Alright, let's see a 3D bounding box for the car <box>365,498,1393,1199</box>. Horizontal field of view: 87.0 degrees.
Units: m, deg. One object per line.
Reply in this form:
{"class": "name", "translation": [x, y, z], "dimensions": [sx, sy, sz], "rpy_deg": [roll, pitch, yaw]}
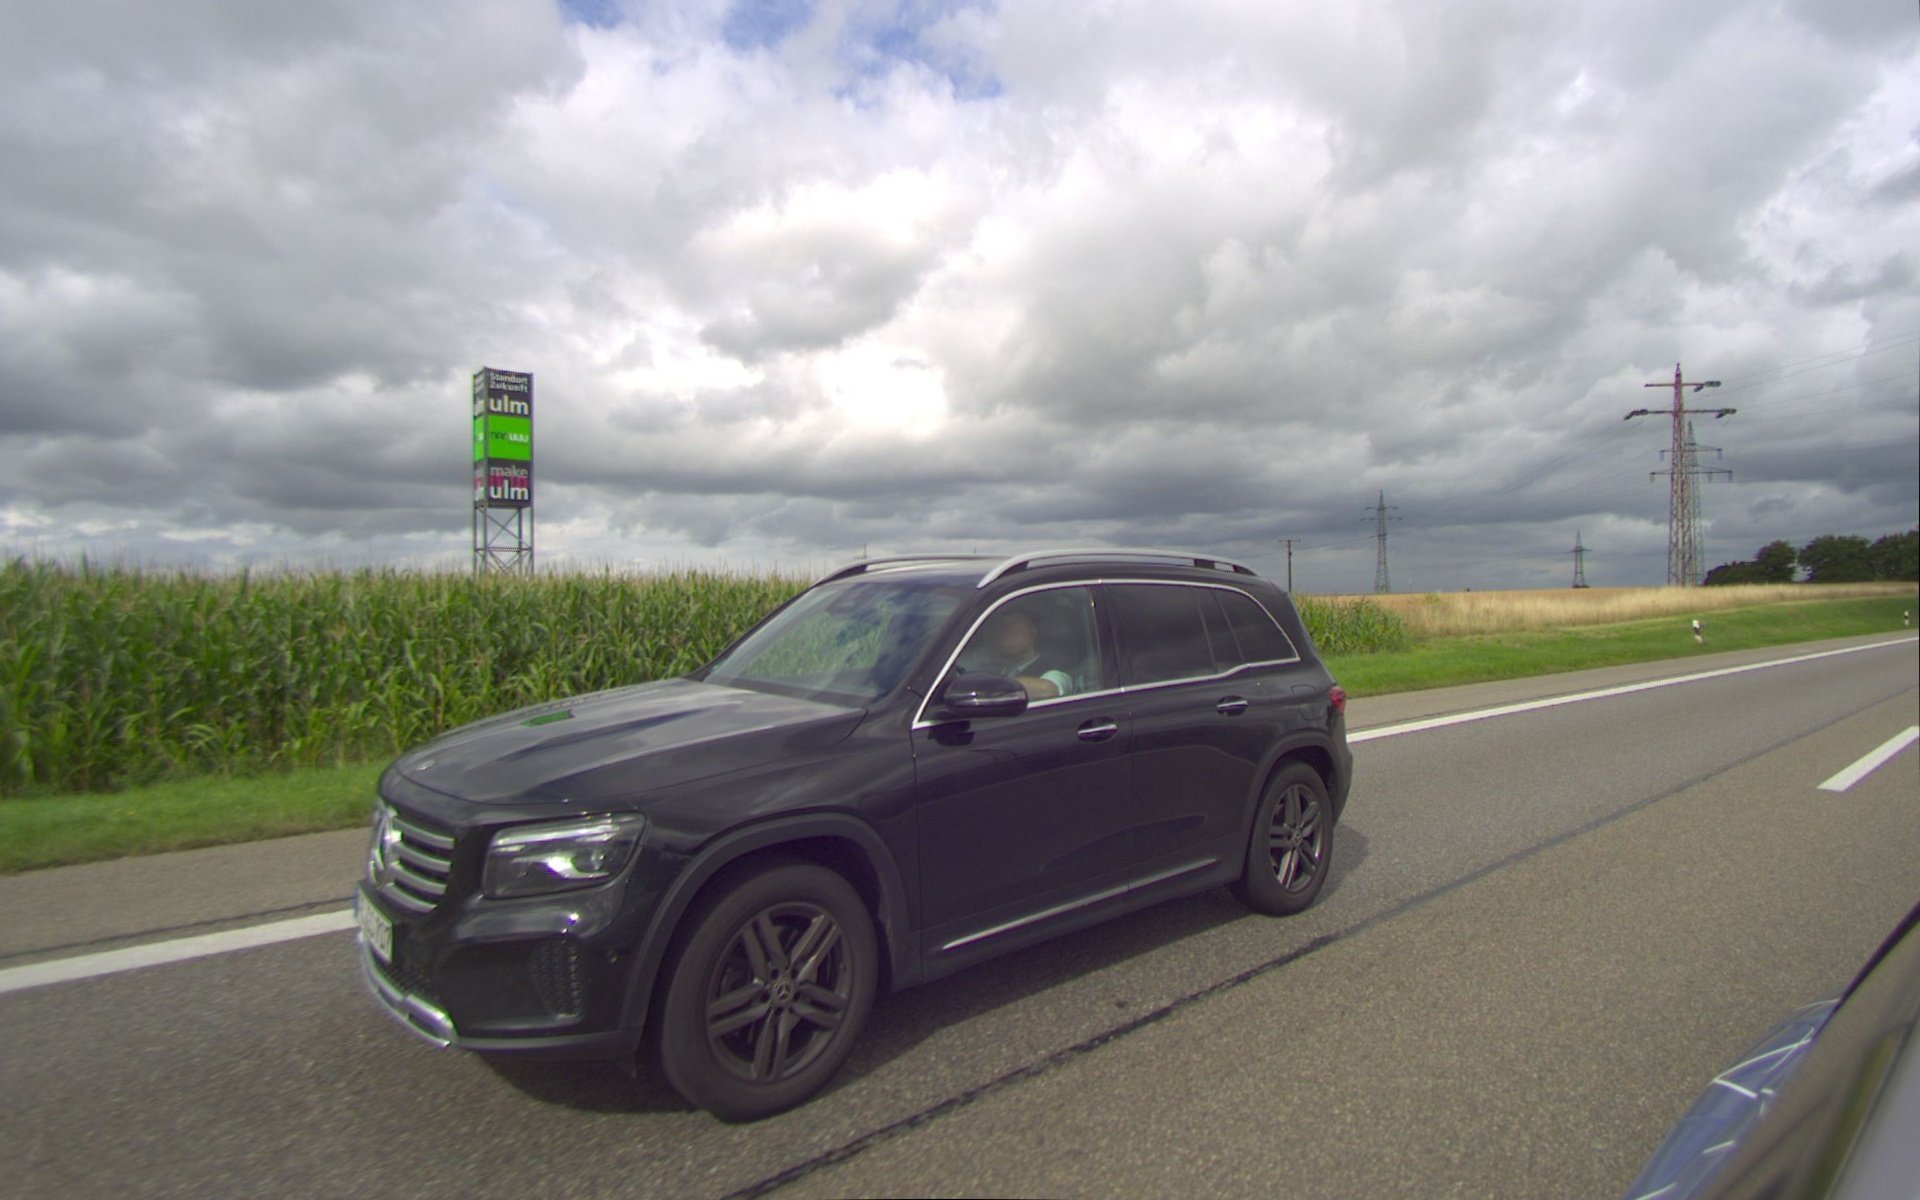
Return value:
{"class": "car", "translation": [0.007, 0.544, 4.454], "dimensions": [4.284, 1.629, 1.836], "rpy_deg": [-1, 1, -41]}
